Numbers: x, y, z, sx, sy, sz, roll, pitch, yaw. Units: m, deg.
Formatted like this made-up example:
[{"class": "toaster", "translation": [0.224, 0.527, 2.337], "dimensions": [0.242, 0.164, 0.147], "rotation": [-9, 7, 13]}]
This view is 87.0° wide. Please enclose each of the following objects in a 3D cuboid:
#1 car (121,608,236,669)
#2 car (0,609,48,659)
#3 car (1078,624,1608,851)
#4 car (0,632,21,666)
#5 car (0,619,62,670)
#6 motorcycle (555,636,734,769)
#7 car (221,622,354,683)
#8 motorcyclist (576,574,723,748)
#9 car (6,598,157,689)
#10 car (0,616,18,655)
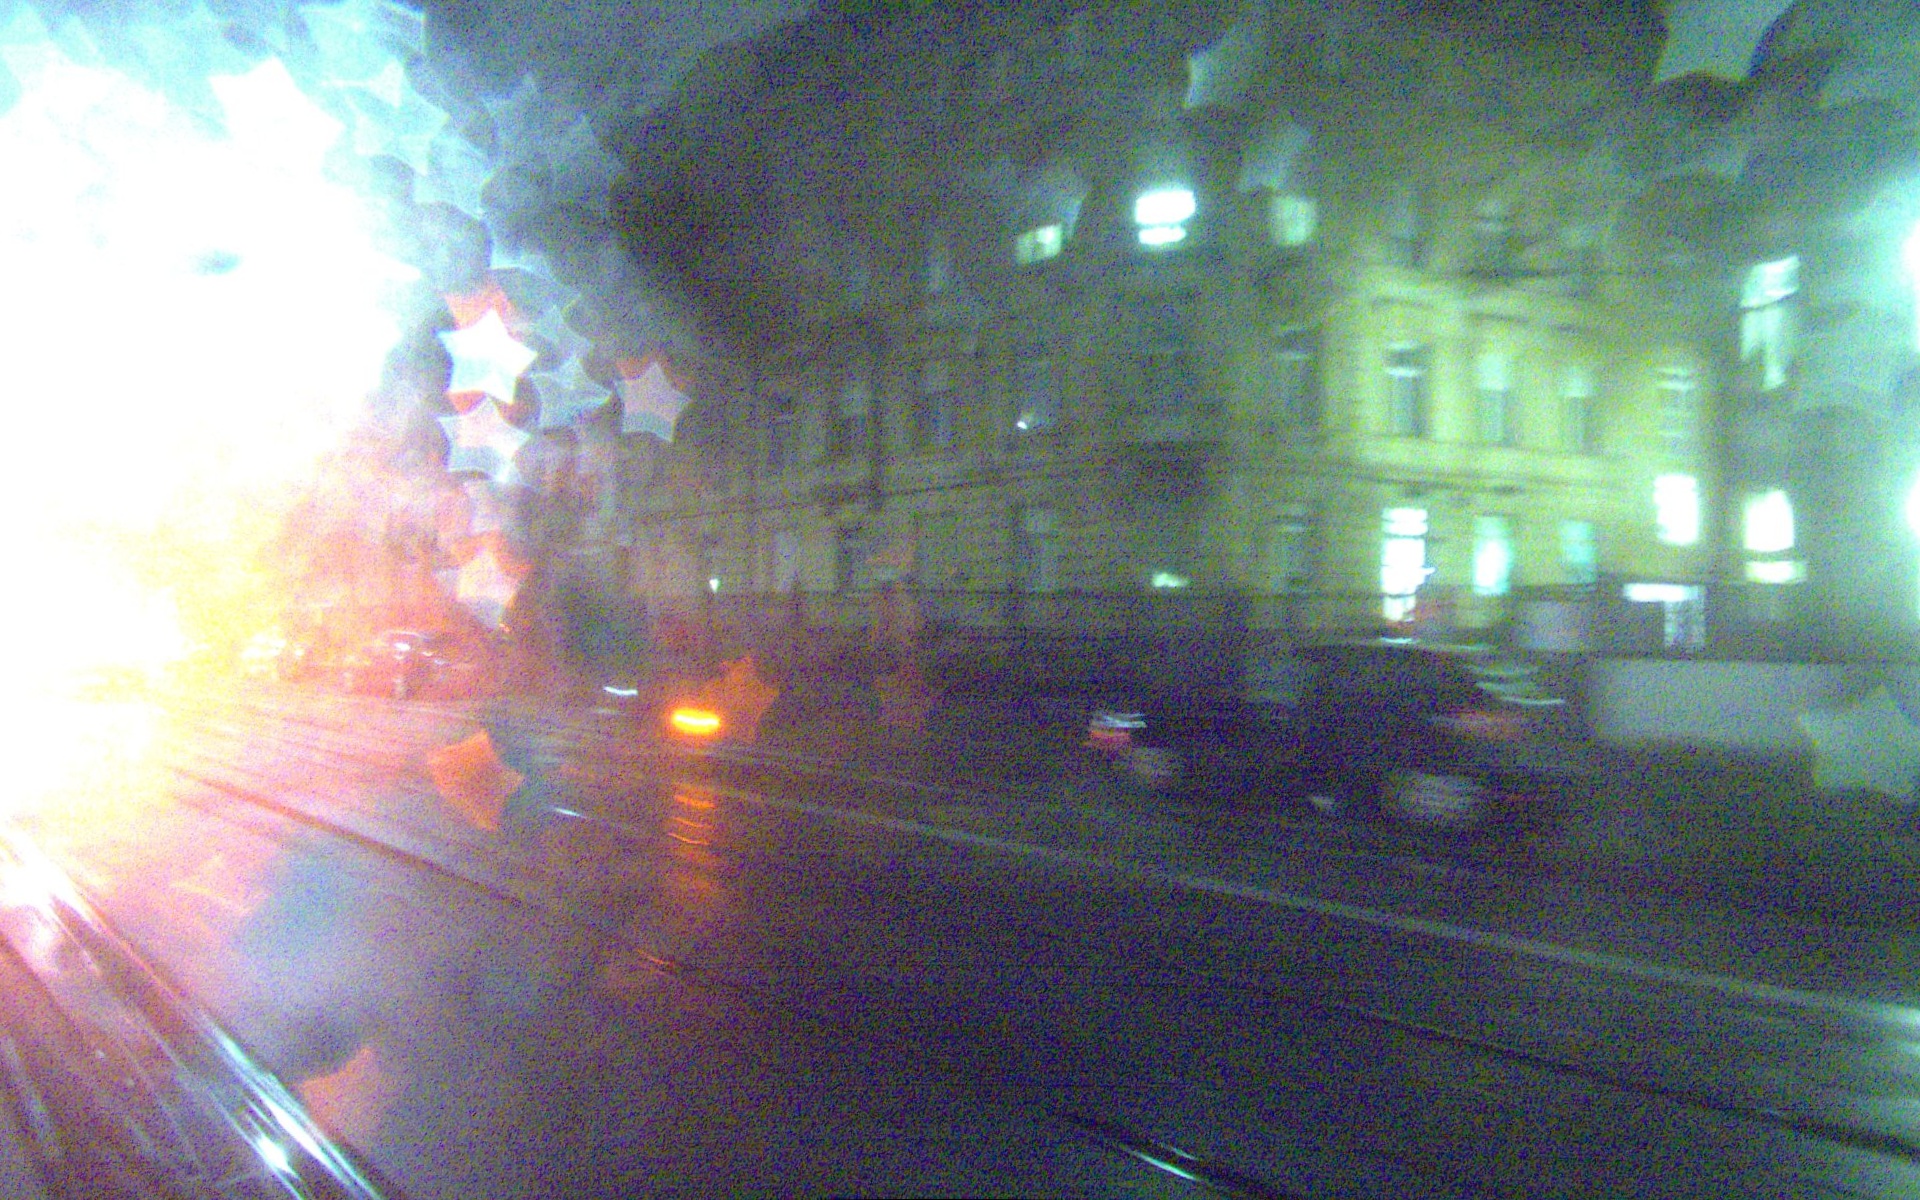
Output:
[{"class": "car", "translation": [-26.635, 1.293, 34.417], "dimensions": [5.304, 1.839, 1.974], "rotation": [-2, 1, 40]}, {"class": "car", "translation": [-37.798, 1.382, 40.331], "dimensions": [1.903, 1.894, 4.640], "rotation": [3, -4, -44]}, {"class": "car", "translation": [3.155, 0.983, 8.811], "dimensions": [3.999, 1.397, 1.651], "rotation": [0, 1, 41]}, {"class": "car", "translation": [-43.196, 2.176, 45.157], "dimensions": [1.772, 1.475, 3.903], "rotation": [1, -2, -45]}, {"class": "car", "translation": [-29.242, 1.371, 31.391], "dimensions": [4.205, 1.490, 1.633], "rotation": [-2, -4, 43]}, {"class": "motorcycle", "translation": [-3.419, 1.061, 10.884], "dimensions": [1.999, 1.239, 0.808], "rotation": [1, -5, 40]}, {"class": "car", "translation": [-17.848, 1.337, 26.808], "dimensions": [4.136, 1.417, 1.749], "rotation": [-1, 1, 39]}, {"class": "motorcyclist", "translation": [-3.335, 0.646, 10.866], "dimensions": [1.135, 1.753, 0.909], "rotation": [0, -5, 40]}, {"class": "car", "translation": [-19.677, 0.960, 22.608], "dimensions": [4.383, 1.830, 1.918], "rotation": [-2, -4, 41]}, {"class": "car", "translation": [-47.812, 1.711, 49.770], "dimensions": [4.537, 1.883, 1.874], "rotation": [-1, -3, 44]}]
